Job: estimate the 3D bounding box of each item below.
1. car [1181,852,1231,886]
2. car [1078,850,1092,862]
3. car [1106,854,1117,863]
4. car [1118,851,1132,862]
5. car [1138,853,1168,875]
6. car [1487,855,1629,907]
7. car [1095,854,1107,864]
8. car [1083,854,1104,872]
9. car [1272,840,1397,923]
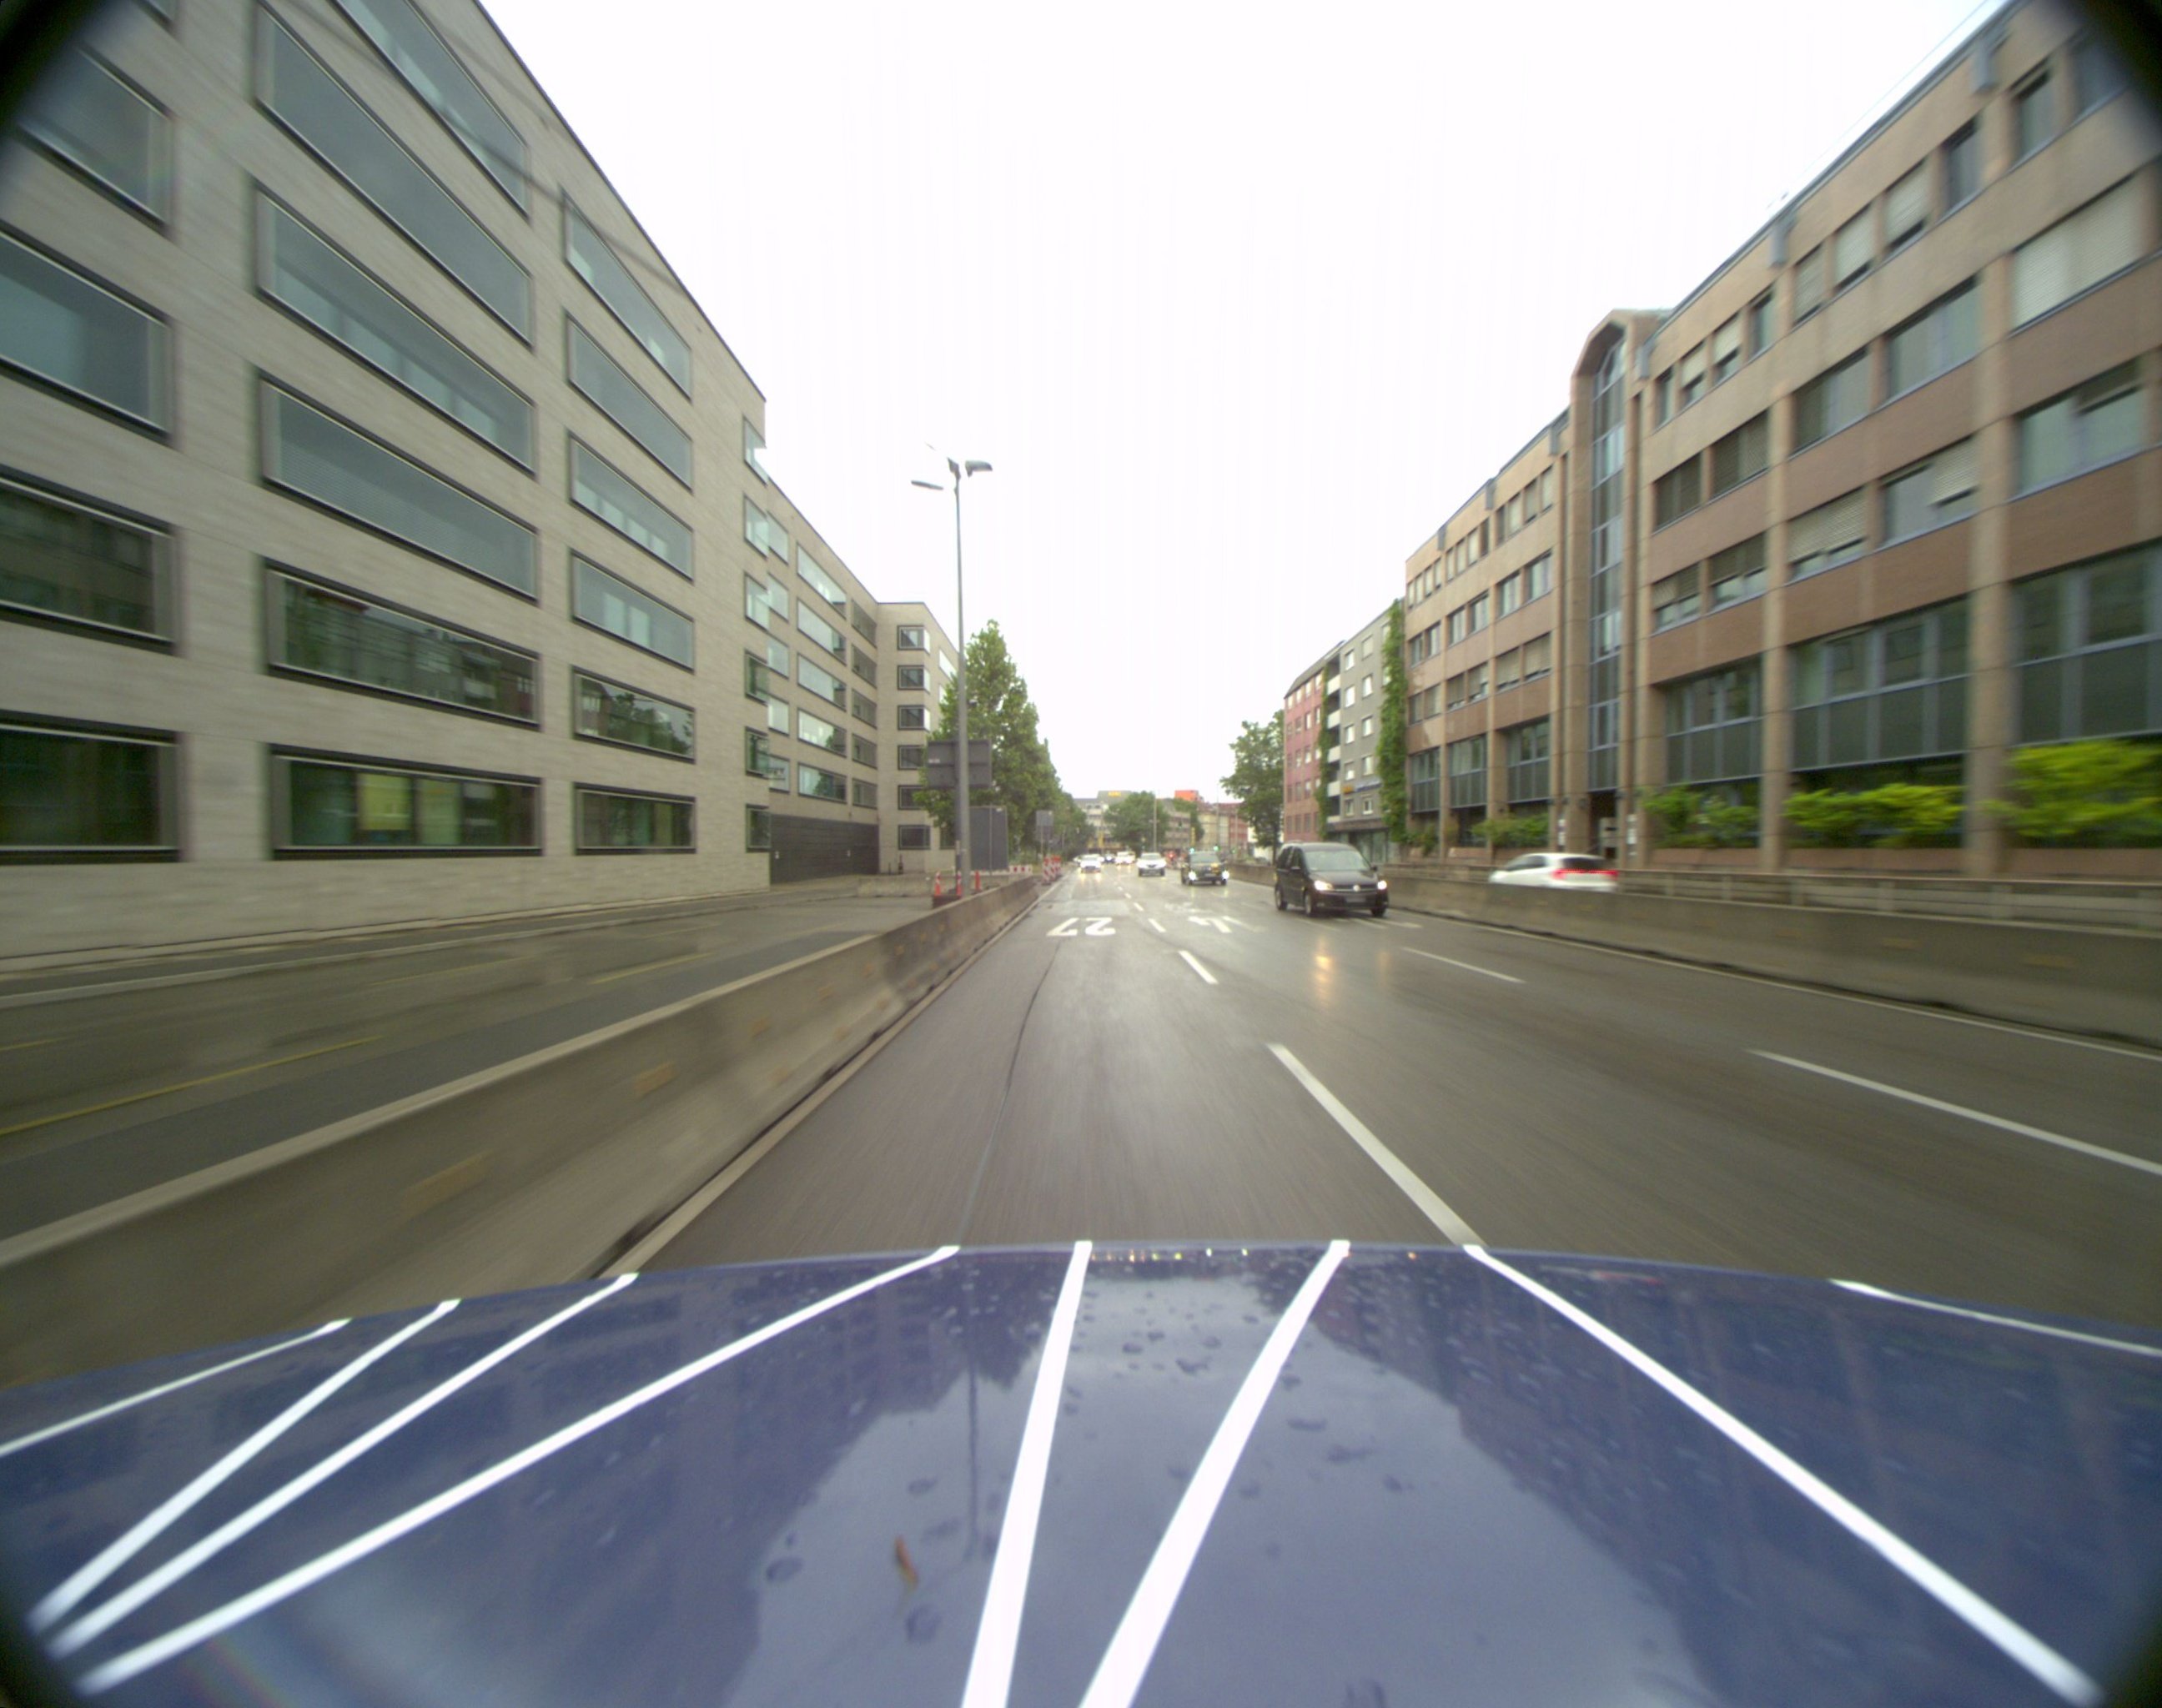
[{"bbox_3d":[6.067,0.691,37.216,1.772,1.524,4.356,0,0,1],"label":"car"},{"bbox_3d":[0.566,0.273,101.006,1.772,1.524,4.656,0,0,1],"label":"car"},{"bbox_3d":[5.090,0.742,126.246,1.772,1.524,4.656,0,0,1],"label":"car"},{"bbox_3d":[6.087,0.370,106.112,1.772,1.524,4.656,0,0,1],"label":"car"},{"bbox_3d":[5.085,0.693,54.244,1.772,1.524,4.656,0,0,1],"label":"car"},{"bbox_3d":[13.237,0.691,21.373,1.723,1.312,3.697,0,0,1],"label":"car"},{"bbox_3d":[3.064,0.706,118.636,1.772,1.524,4.656,0,0,1],"label":"car"},{"bbox_3d":[1.128,0.754,67.559,1.772,1.524,4.656,0,0,1],"label":"car"},{"bbox_3d":[6.042,0.590,18.621,1.798,1.790,4.251,-1,0,2],"label":"car"}]
